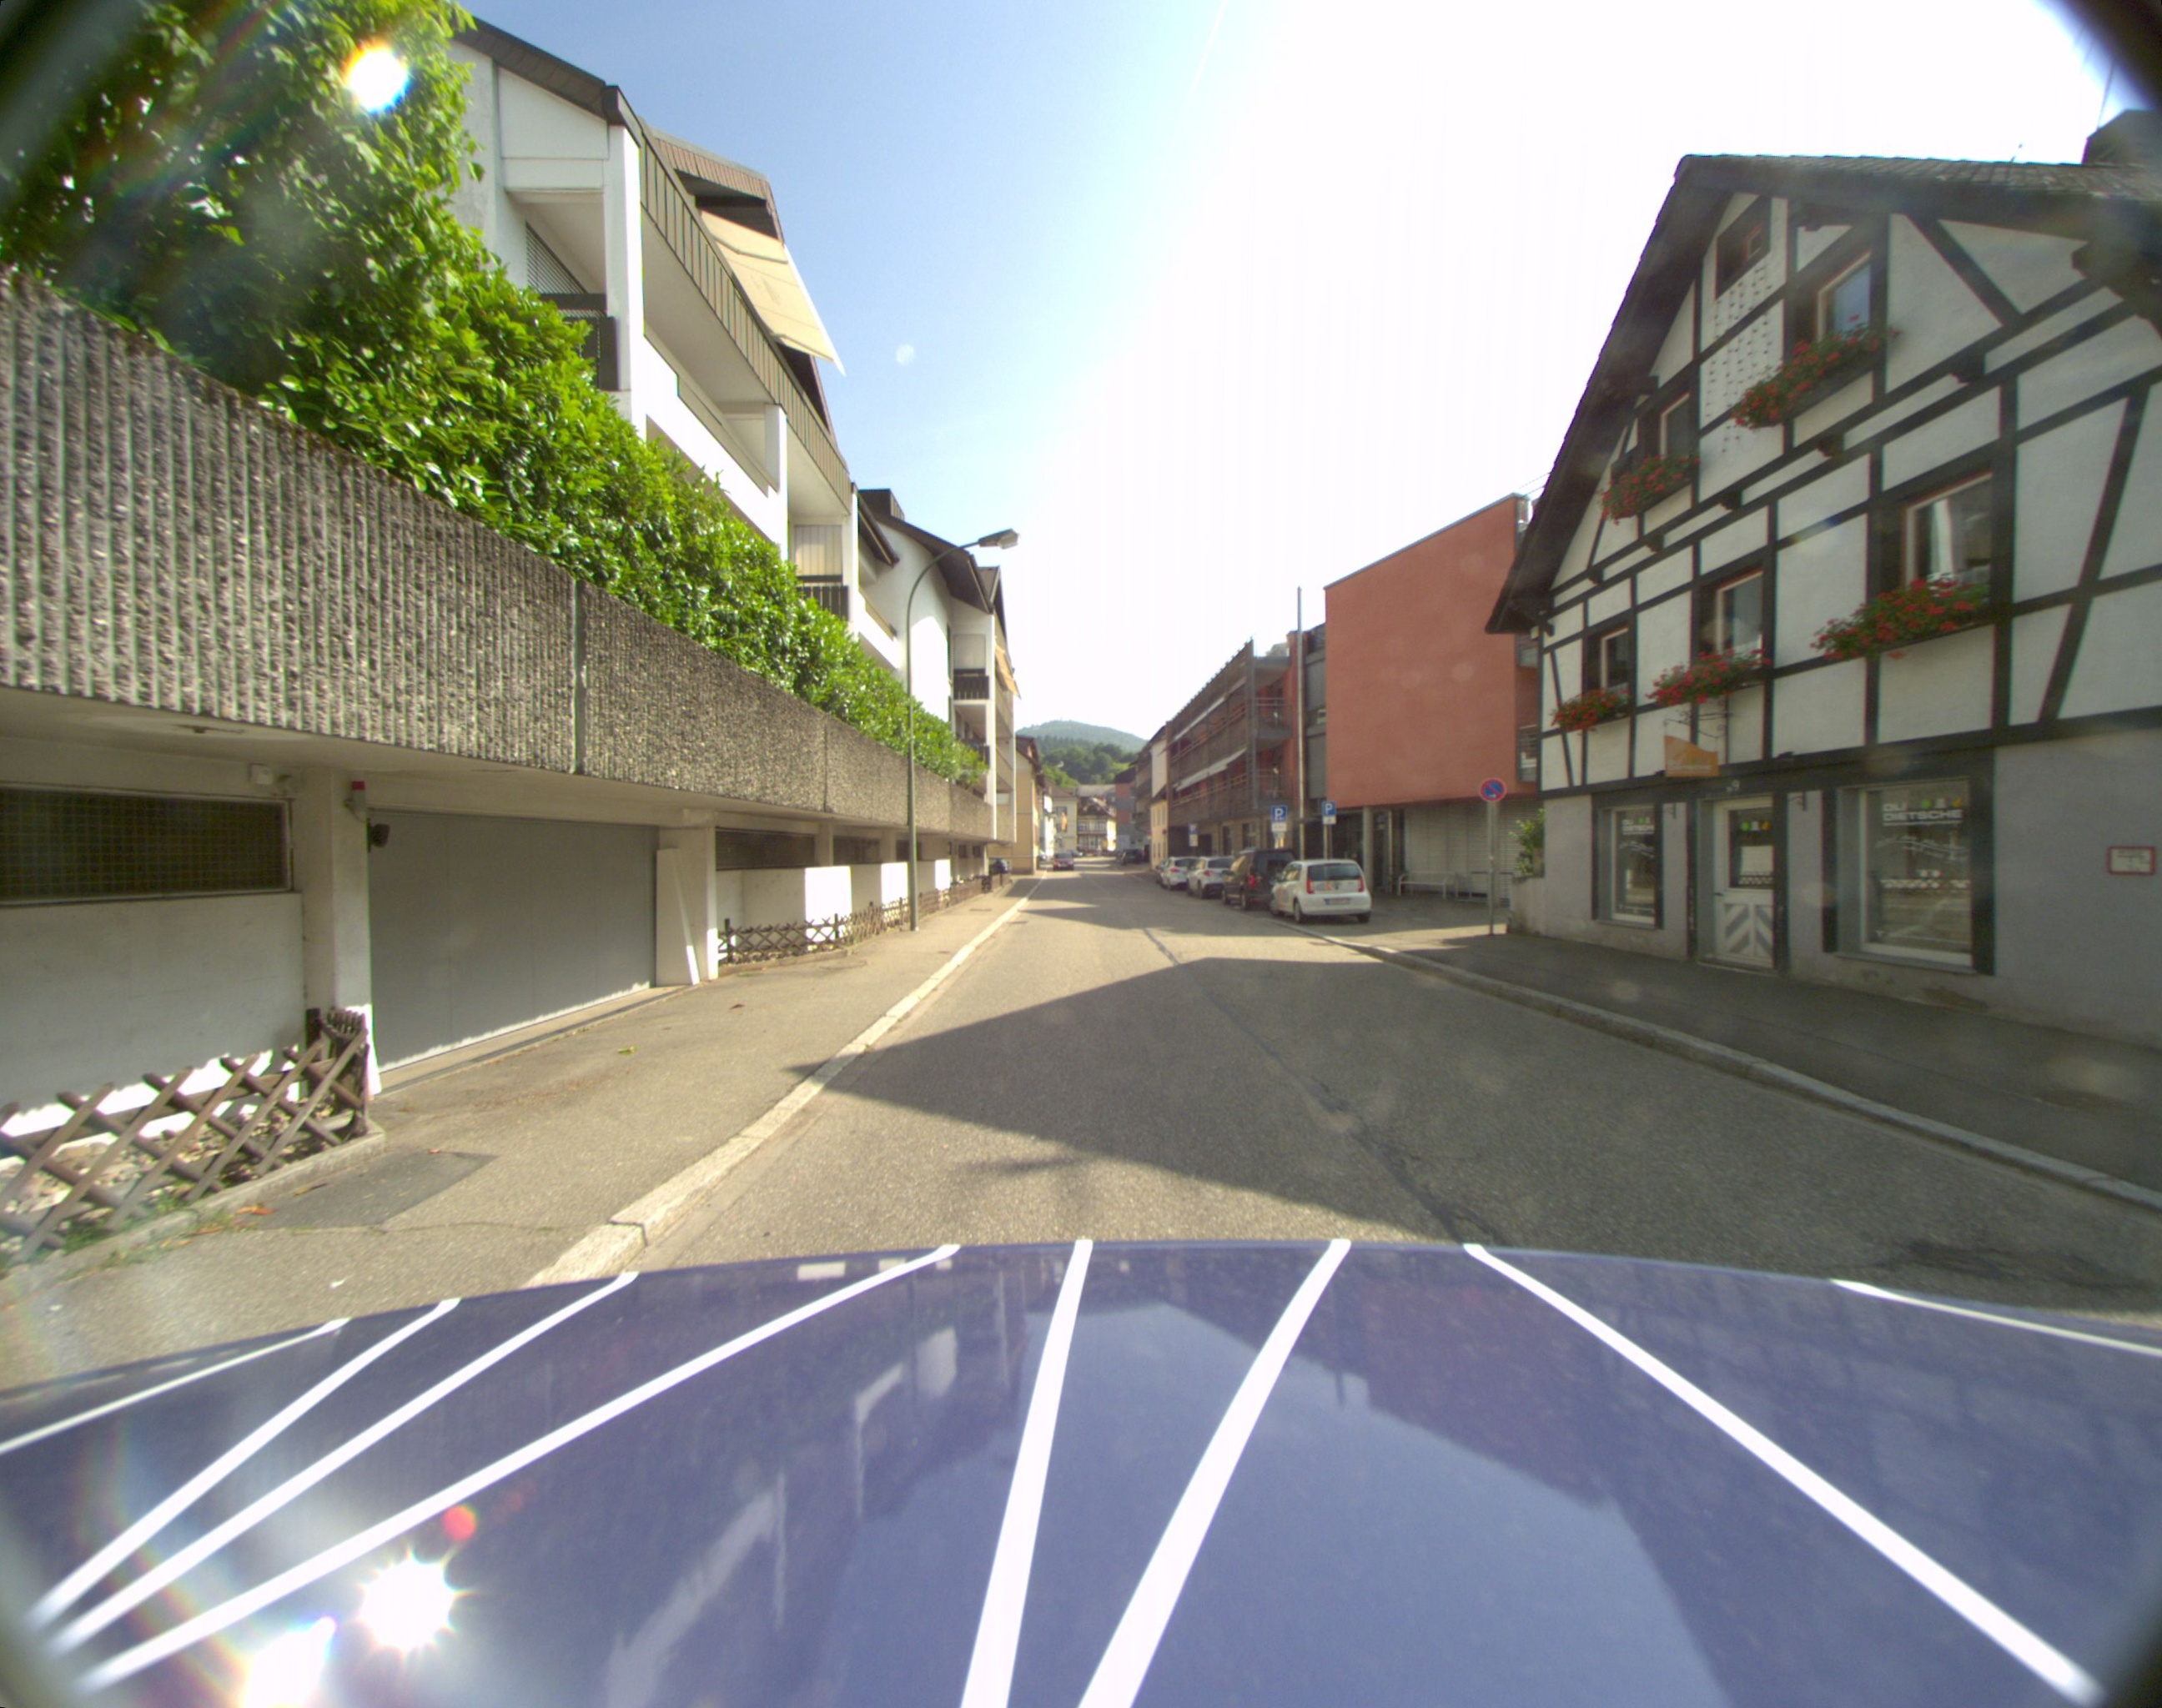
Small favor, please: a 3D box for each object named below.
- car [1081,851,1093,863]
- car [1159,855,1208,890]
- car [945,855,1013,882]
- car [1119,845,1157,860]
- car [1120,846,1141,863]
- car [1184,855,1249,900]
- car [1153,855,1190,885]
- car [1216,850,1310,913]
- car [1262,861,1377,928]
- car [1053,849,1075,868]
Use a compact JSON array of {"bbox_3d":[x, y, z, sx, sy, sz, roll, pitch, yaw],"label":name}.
[{"bbox_3d":[1.010,0.507,137.431,1.999,2.002,3.999,-2,1,-1],"label":"car"},{"bbox_3d":[4.823,0.843,36.128,1.678,1.546,3.764,-1,0,-2],"label":"car"},{"bbox_3d":[-6.073,0.867,45.682,3.838,1.470,1.700,-2,0,-3],"label":"car"},{"bbox_3d":[6.413,-0.133,86.108,4.000,1.673,1.834,0,-1,-9],"label":"car"},{"bbox_3d":[5.037,0.008,77.654,1.787,1.566,3.888,-3,1,-1],"label":"car"},{"bbox_3d":[5.172,0.848,29.460,1.679,1.580,3.948,-1,0,-2],"label":"car"},{"bbox_3d":[4.907,0.839,41.451,1.553,1.408,3.593,-2,1,0],"label":"car"},{"bbox_3d":[5.549,0.772,23.693,1.725,1.786,4.268,-1,0,-3],"label":"car"},{"bbox_3d":[5.691,0.908,18.555,1.670,1.423,3.569,-2,0,0],"label":"car"},{"bbox_3d":[-1.443,0.362,65.141,1.822,1.652,3.999,0,0,-2],"label":"car"}]
